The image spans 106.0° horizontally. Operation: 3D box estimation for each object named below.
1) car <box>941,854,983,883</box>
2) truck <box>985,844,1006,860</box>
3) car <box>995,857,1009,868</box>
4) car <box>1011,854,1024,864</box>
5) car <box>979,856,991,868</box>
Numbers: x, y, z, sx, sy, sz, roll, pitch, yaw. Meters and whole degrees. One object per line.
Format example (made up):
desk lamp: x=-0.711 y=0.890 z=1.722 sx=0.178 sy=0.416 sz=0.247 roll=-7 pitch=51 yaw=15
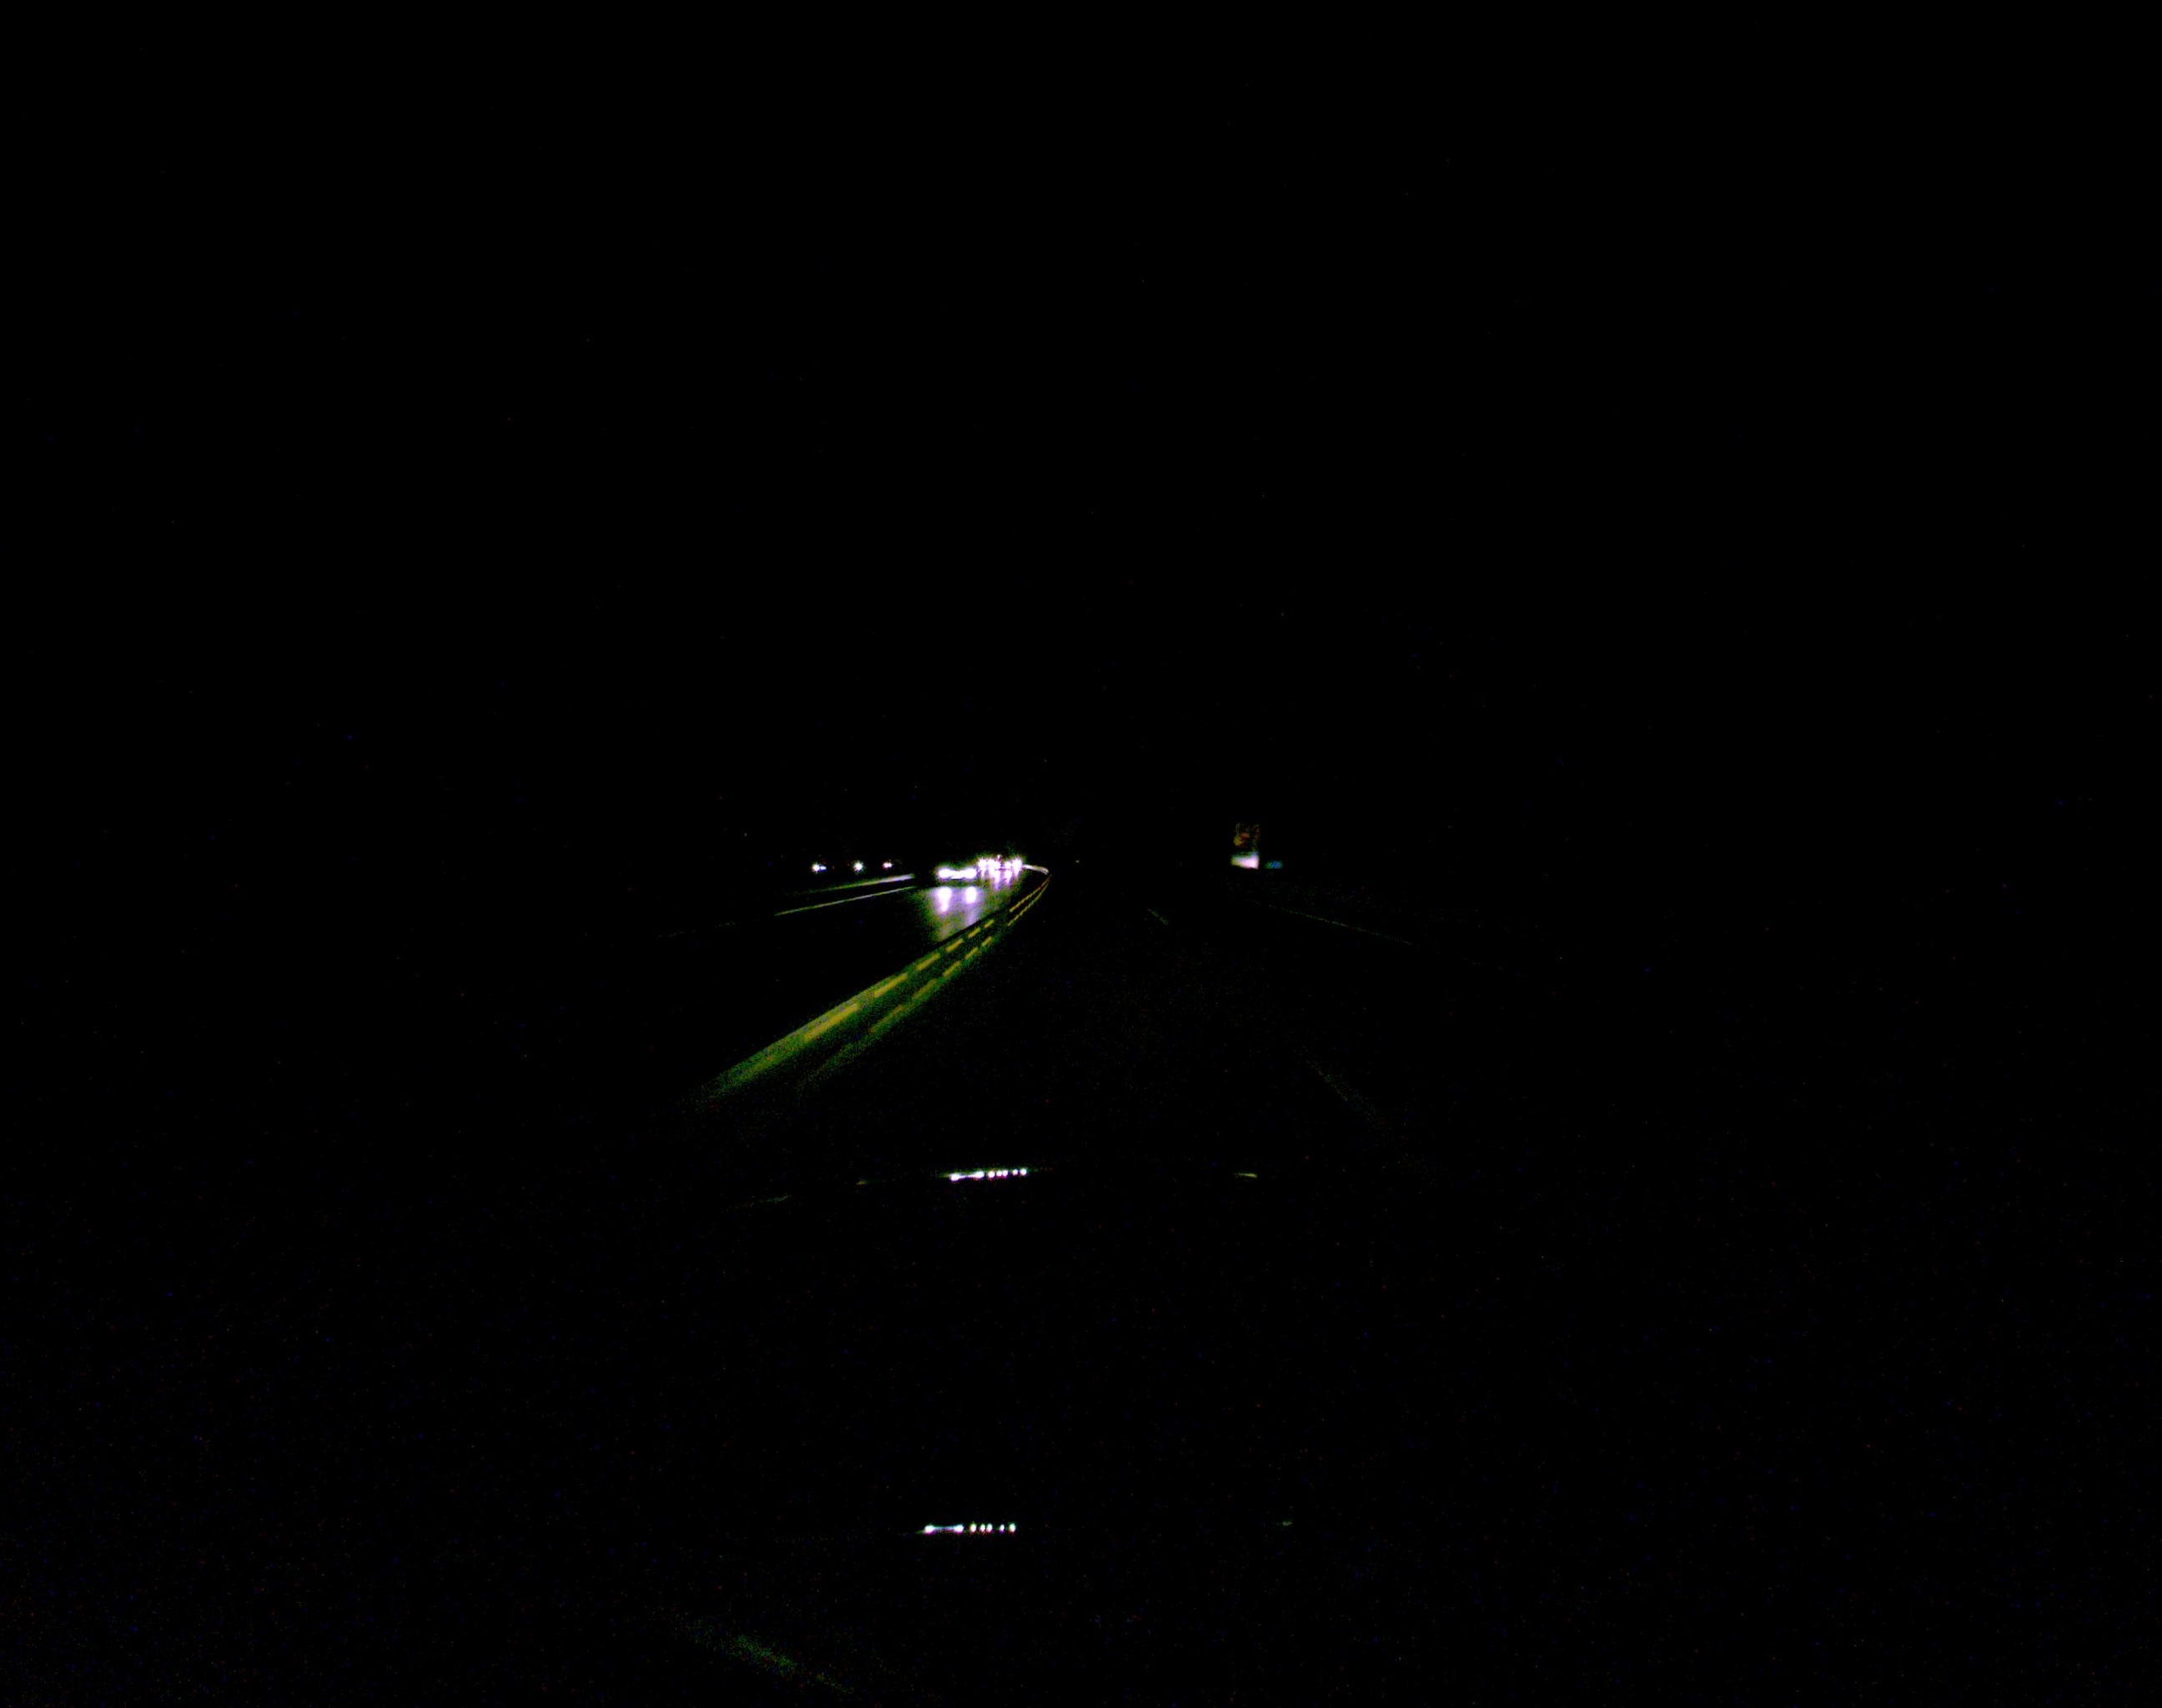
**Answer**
car: x=-6.545 y=0.793 z=45.176 sx=1.708 sy=1.443 sz=4.483 roll=-2 pitch=-1 yaw=-2
truck: x=-25.886 y=-0.526 z=246.189 sx=4.019 sy=4.552 sz=13.879 roll=-2 pitch=-1 yaw=-15
car: x=-9.610 y=1.057 z=98.915 sx=1.715 sy=1.380 sz=4.233 roll=0 pitch=-1 yaw=-6
car: x=-10.022 y=0.815 z=127.796 sx=1.651 sy=1.469 sz=3.987 roll=-2 pitch=-1 yaw=-9
car: x=-17.737 y=1.486 z=150.804 sx=1.993 sy=2.014 sz=5.569 roll=-2 pitch=-1 yaw=-9
